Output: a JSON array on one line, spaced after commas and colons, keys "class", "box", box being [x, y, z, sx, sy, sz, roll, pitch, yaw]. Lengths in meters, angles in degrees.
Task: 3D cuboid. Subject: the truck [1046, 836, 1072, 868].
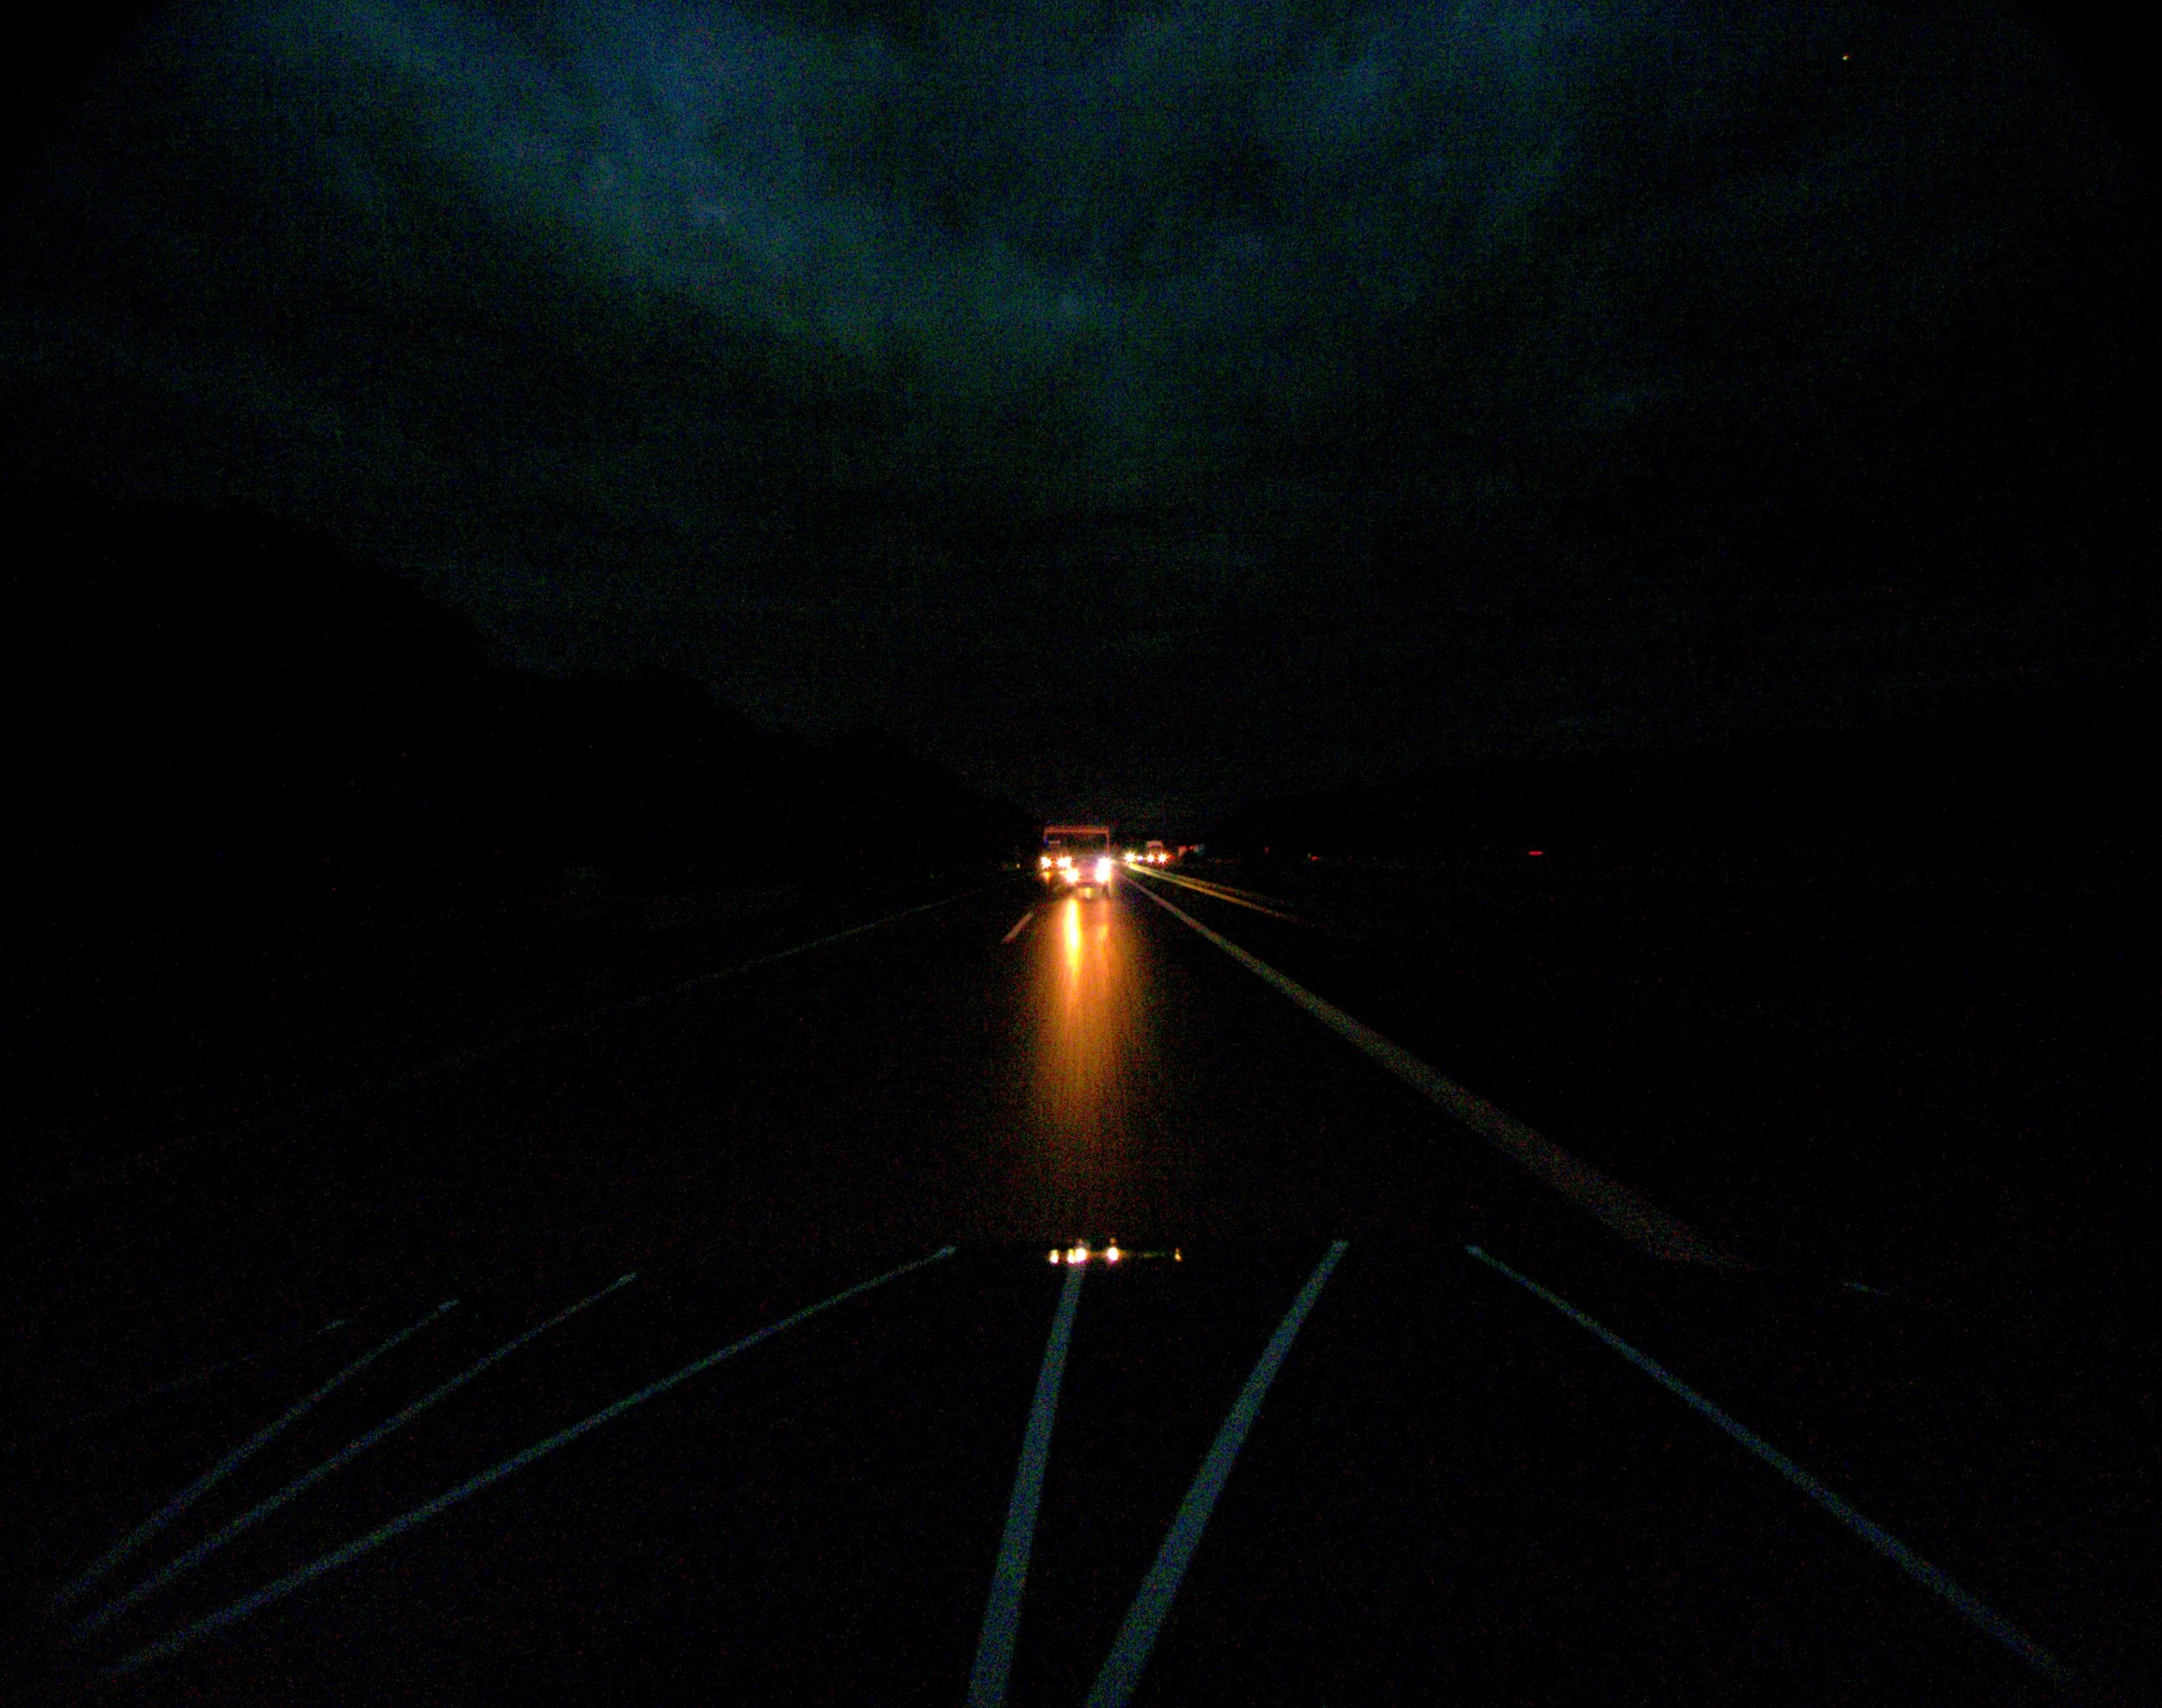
[{"class": "truck", "box": [-2.153, -0.215, 75.507, 2.274, 2.954, 6.631, -2, 0, 0]}]

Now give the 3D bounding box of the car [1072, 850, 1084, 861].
[{"class": "car", "box": [-0.594, 0.229, 133.178, 1.999, 2.002, 3.999, 0, 1, -2]}]

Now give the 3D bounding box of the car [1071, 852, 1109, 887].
[{"class": "car", "box": [0.418, 0.684, 35.550, 1.669, 1.551, 3.757, 0, 0, 1]}]

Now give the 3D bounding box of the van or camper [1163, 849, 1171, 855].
[{"class": "van or camper", "box": [27.458, -0.566, 242.719, 1.895, 1.895, 5.540, -1, 0, -1]}]

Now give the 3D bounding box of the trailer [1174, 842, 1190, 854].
[{"class": "trailer", "box": [31.641, -1.963, 239.225, 3.335, 3.743, 13.884, 0, 1, 0]}]

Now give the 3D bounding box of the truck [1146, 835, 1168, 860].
[{"class": "truck", "box": [13.689, -1.203, 137.677, 3.046, 4.276, 9.890, 0, 1, 1]}]
